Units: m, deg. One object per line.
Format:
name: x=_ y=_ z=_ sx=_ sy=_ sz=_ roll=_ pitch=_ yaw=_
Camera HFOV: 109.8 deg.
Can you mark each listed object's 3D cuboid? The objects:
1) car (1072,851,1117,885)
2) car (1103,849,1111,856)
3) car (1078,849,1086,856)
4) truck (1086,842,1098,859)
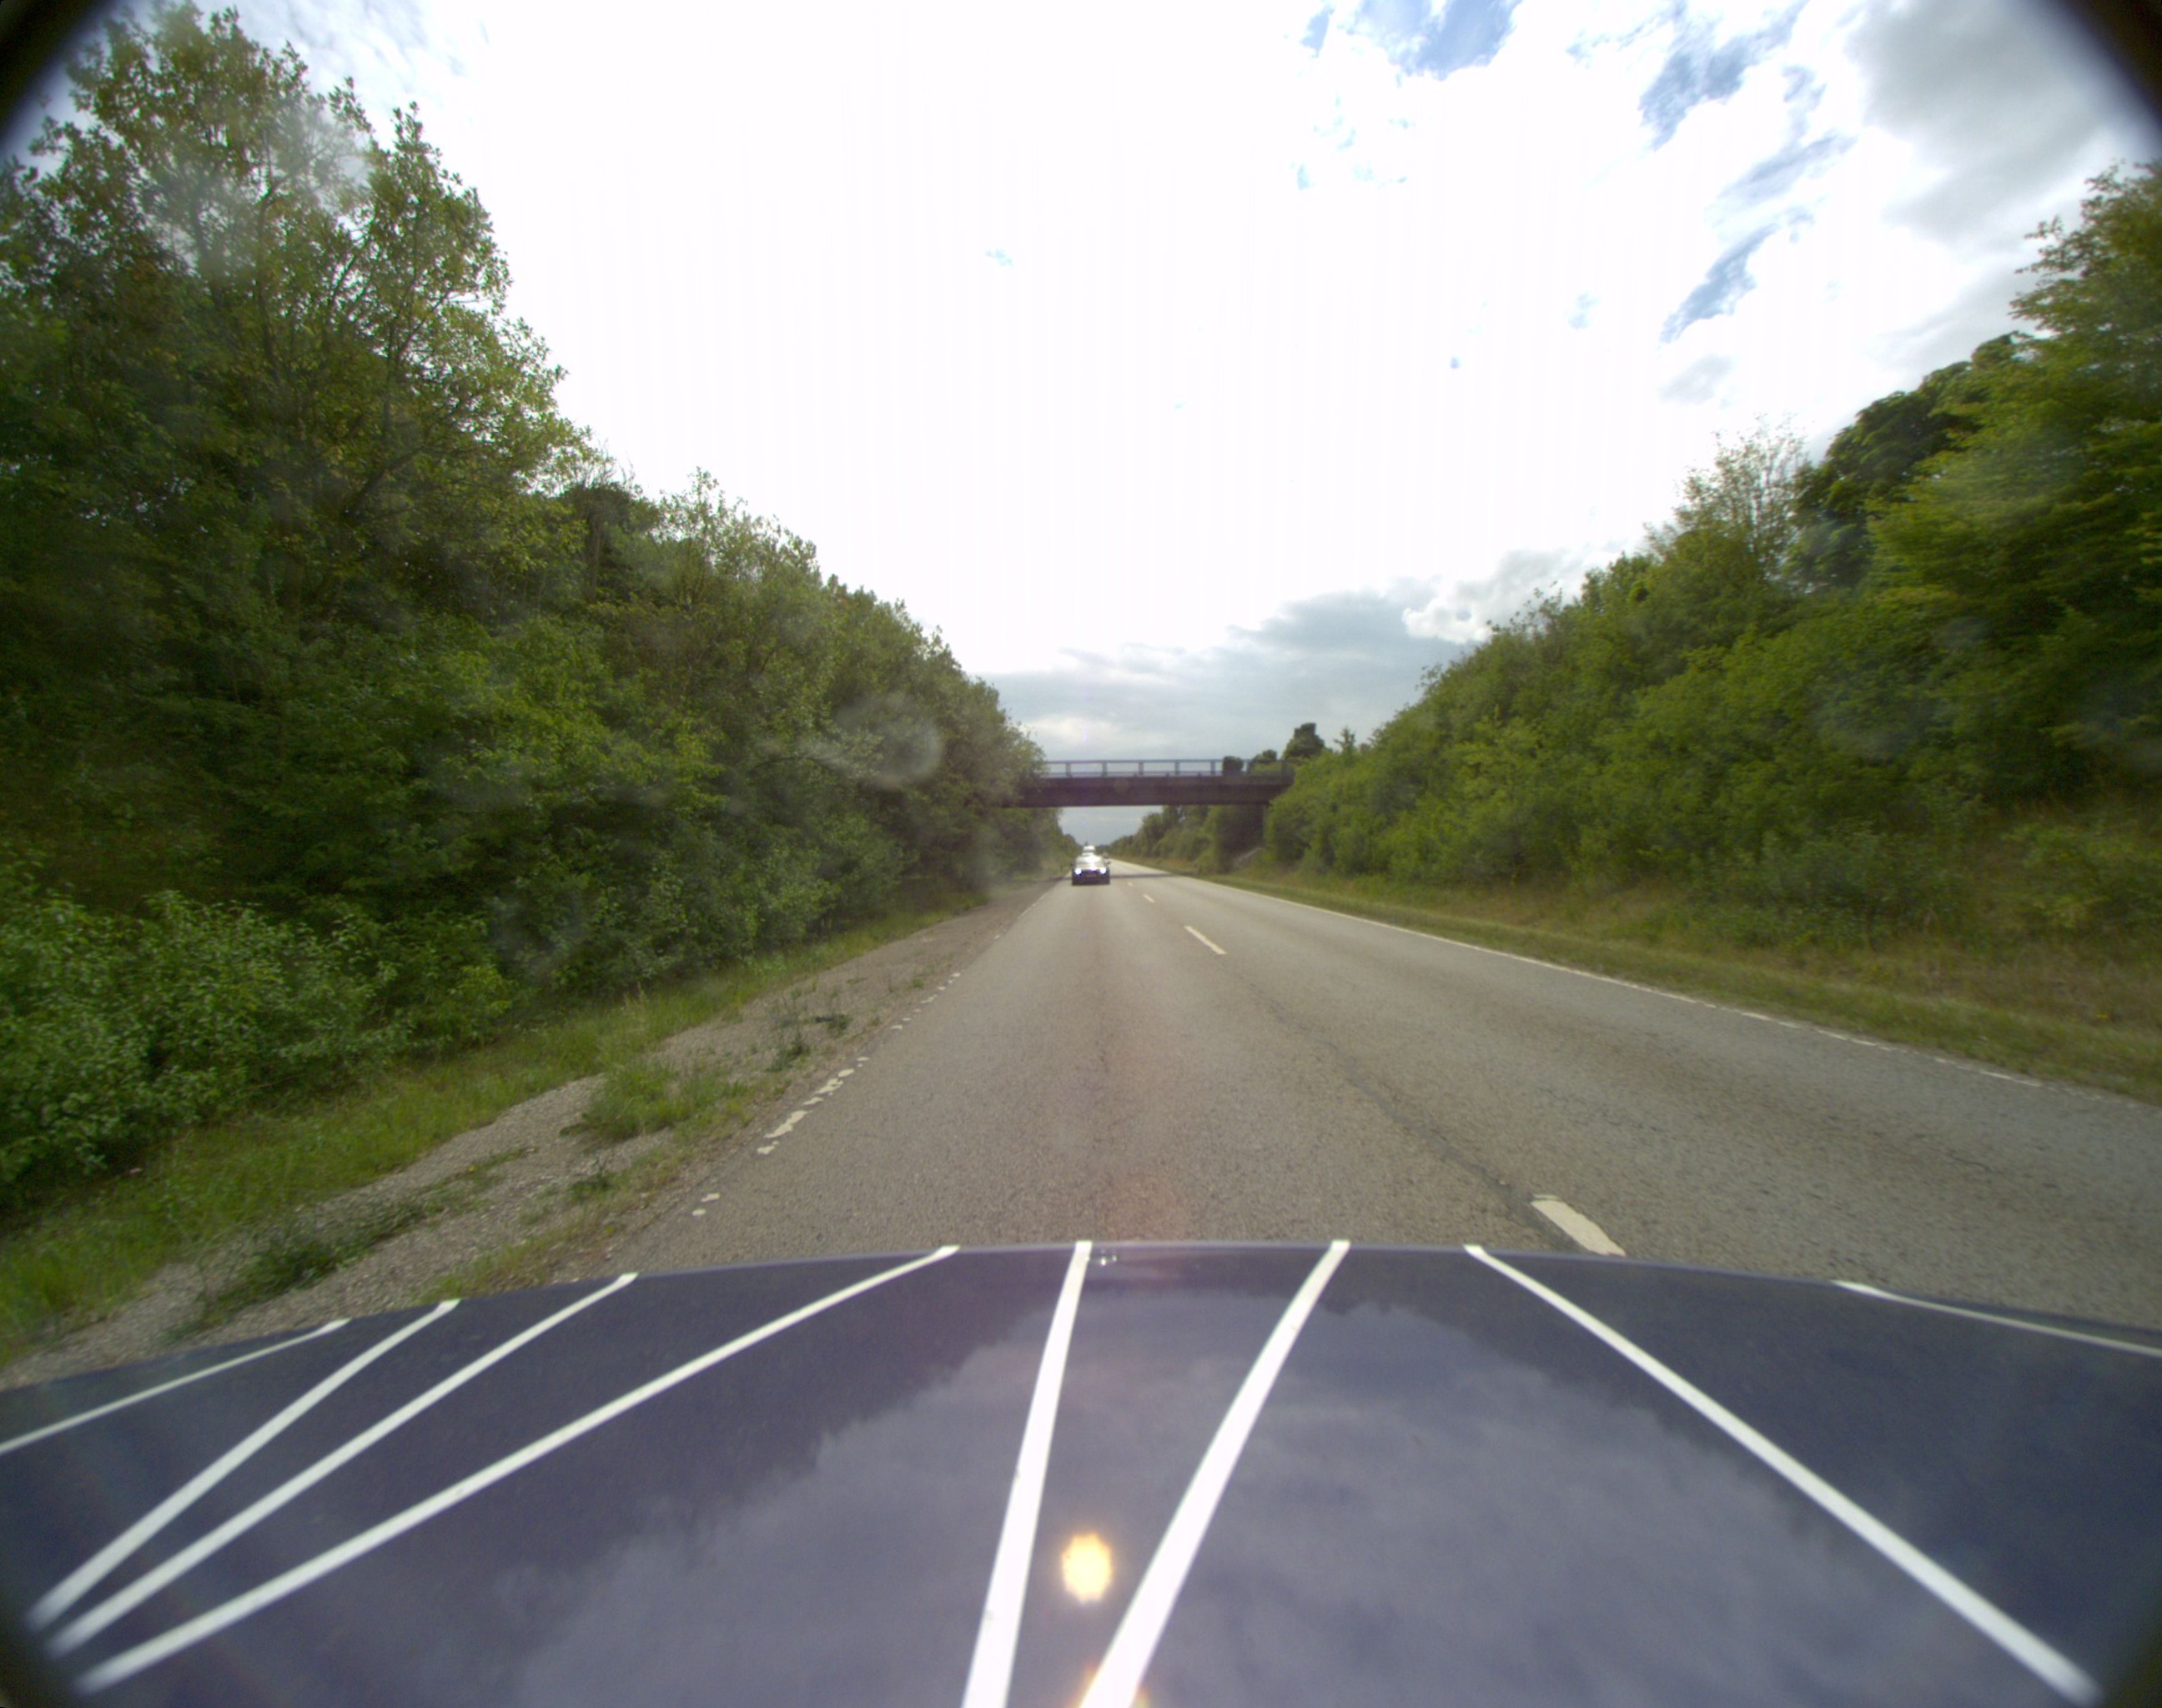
car: x=0.623 y=0.607 z=36.883 sx=1.998 sy=1.436 sz=4.640 roll=-2 pitch=1 yaw=1
car: x=6.649 y=-0.412 z=196.298 sx=1.892 sy=1.638 sz=3.999 roll=-2 pitch=0 yaw=0
car: x=0.277 y=-0.335 z=196.373 sx=1.893 sy=1.638 sz=3.999 roll=-2 pitch=0 yaw=-1
truck: x=1.674 y=-0.560 z=118.327 sx=1.802 sy=2.518 sz=6.685 roll=-2 pitch=1 yaw=1
